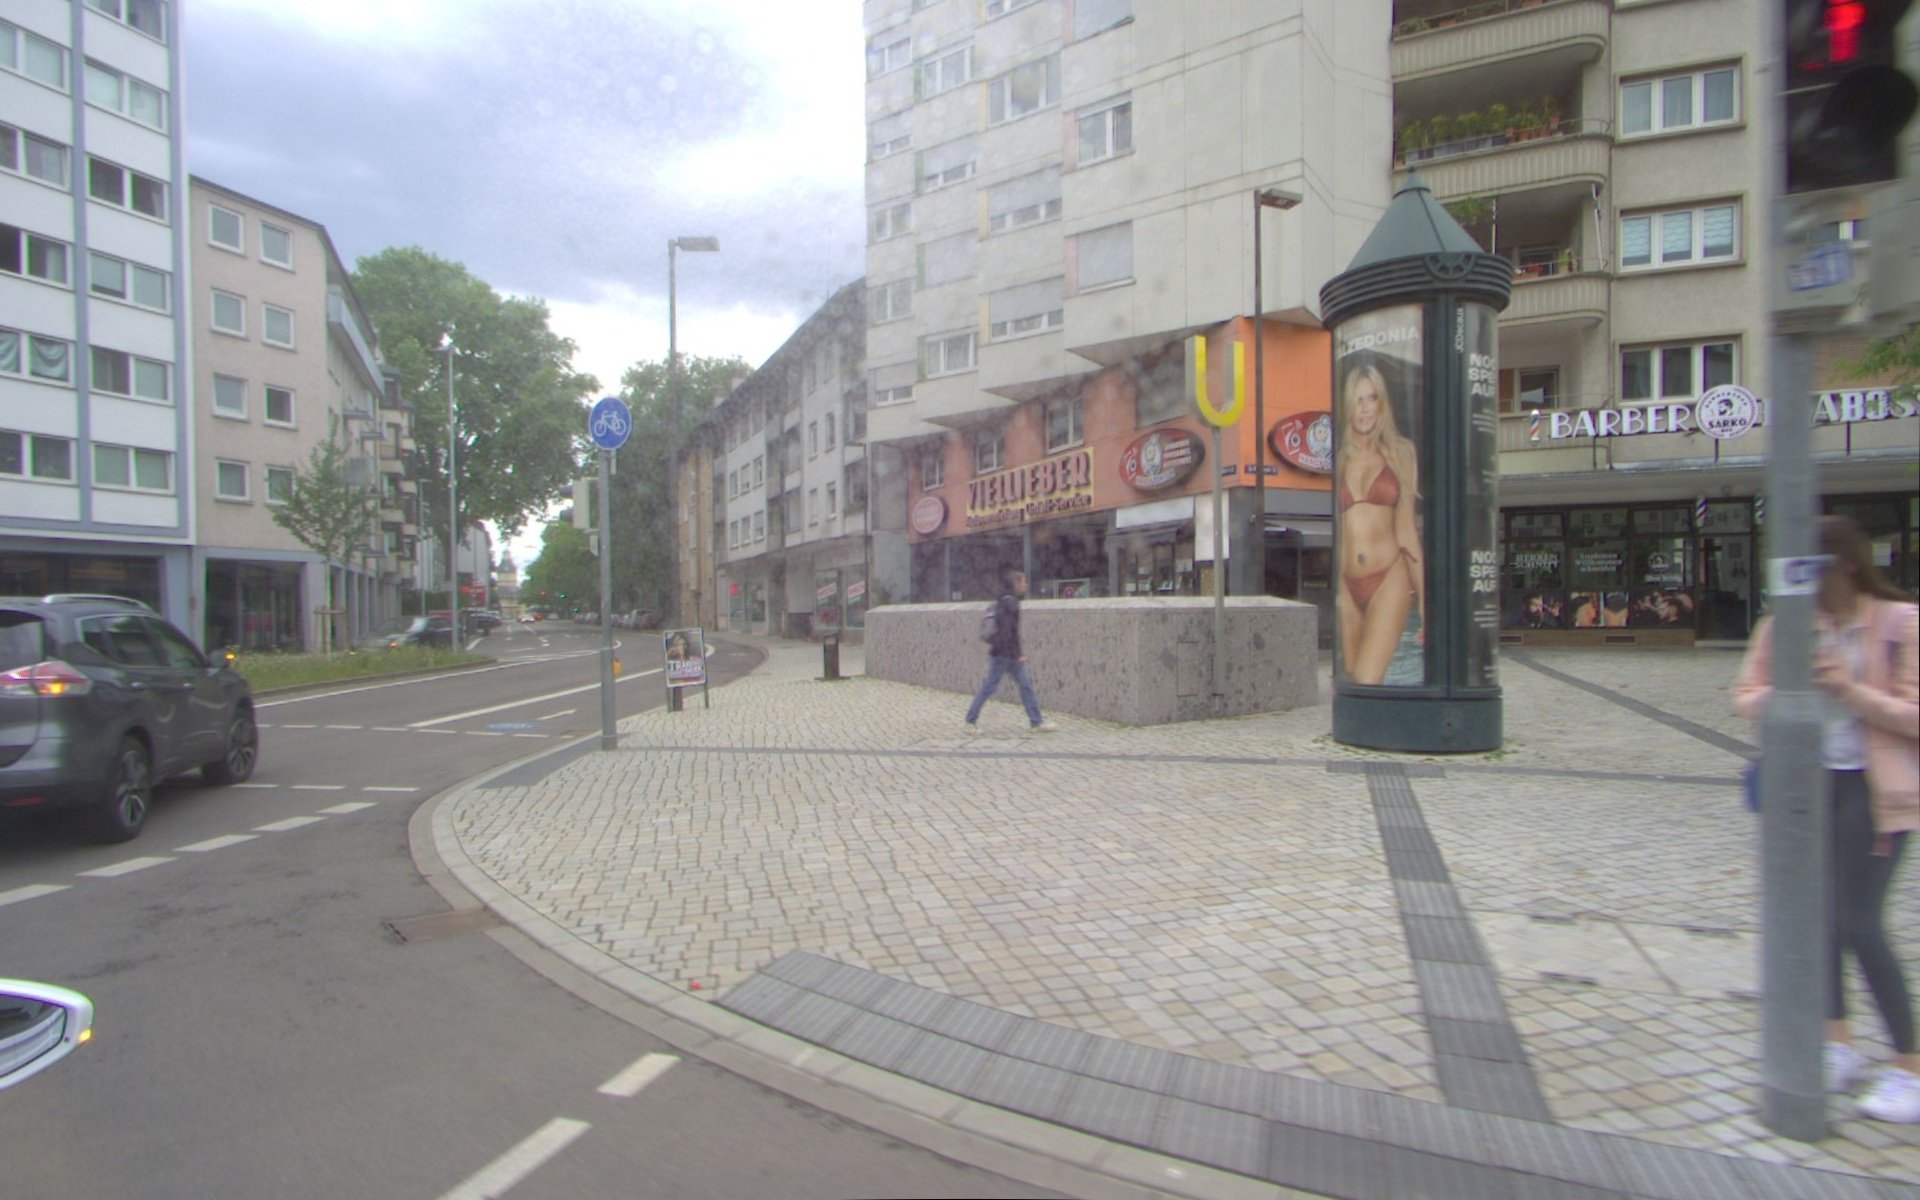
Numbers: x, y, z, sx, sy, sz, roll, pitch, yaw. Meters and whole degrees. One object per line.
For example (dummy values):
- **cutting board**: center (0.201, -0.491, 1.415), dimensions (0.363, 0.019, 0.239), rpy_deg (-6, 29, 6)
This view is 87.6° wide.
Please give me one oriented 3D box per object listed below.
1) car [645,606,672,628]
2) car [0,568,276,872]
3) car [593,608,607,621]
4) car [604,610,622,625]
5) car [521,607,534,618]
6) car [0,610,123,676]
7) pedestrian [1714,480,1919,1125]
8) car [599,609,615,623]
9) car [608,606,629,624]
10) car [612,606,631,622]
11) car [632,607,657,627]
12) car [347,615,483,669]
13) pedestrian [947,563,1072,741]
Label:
- **car**: center (-26.210, 1.468, 86.909), dimensions (1.839, 1.798, 3.970), rpy_deg (1, 0, -23)
- **car**: center (-7.018, 0.746, 7.821), dimensions (1.839, 1.797, 4.553), rpy_deg (1, -1, -23)
- **car**: center (-53.306, 2.106, 148.277), dimensions (1.839, 1.798, 3.970), rpy_deg (1, 0, -23)
- **car**: center (-42.330, 2.108, 122.130), dimensions (1.839, 1.798, 3.970), rpy_deg (1, 0, -23)
- **car**: center (-68.832, 1.979, 159.419), dimensions (1.839, 1.798, 3.970), rpy_deg (1, 0, -23)
- **car**: center (-23.093, 1.040, 23.893), dimensions (1.717, 1.501, 4.559), rpy_deg (-1, 0, 17)
- **pedestrian**: center (2.758, 0.565, 3.022), dimensions (0.590, 1.784, 0.524), rpy_deg (0, -1, 12)
- **car**: center (-47.060, 2.086, 133.544), dimensions (1.839, 1.798, 3.970), rpy_deg (1, 0, -23)
- **car**: center (-36.498, 1.591, 106.992), dimensions (1.839, 1.798, 3.970), rpy_deg (1, 0, -23)
- **car**: center (-39.748, 1.649, 117.392), dimensions (1.839, 1.798, 3.970), rpy_deg (1, 0, -23)
- **car**: center (-29.603, 1.576, 93.957), dimensions (1.839, 1.798, 3.970), rpy_deg (1, 0, -23)
- **car**: center (-17.248, 1.277, 31.969), dimensions (1.714, 1.501, 4.566), rpy_deg (-1, 0, 1)
- **pedestrian**: center (0.564, 0.552, 11.263), dimensions (1.135, 1.888, 0.801), rpy_deg (-1, 2, 30)
